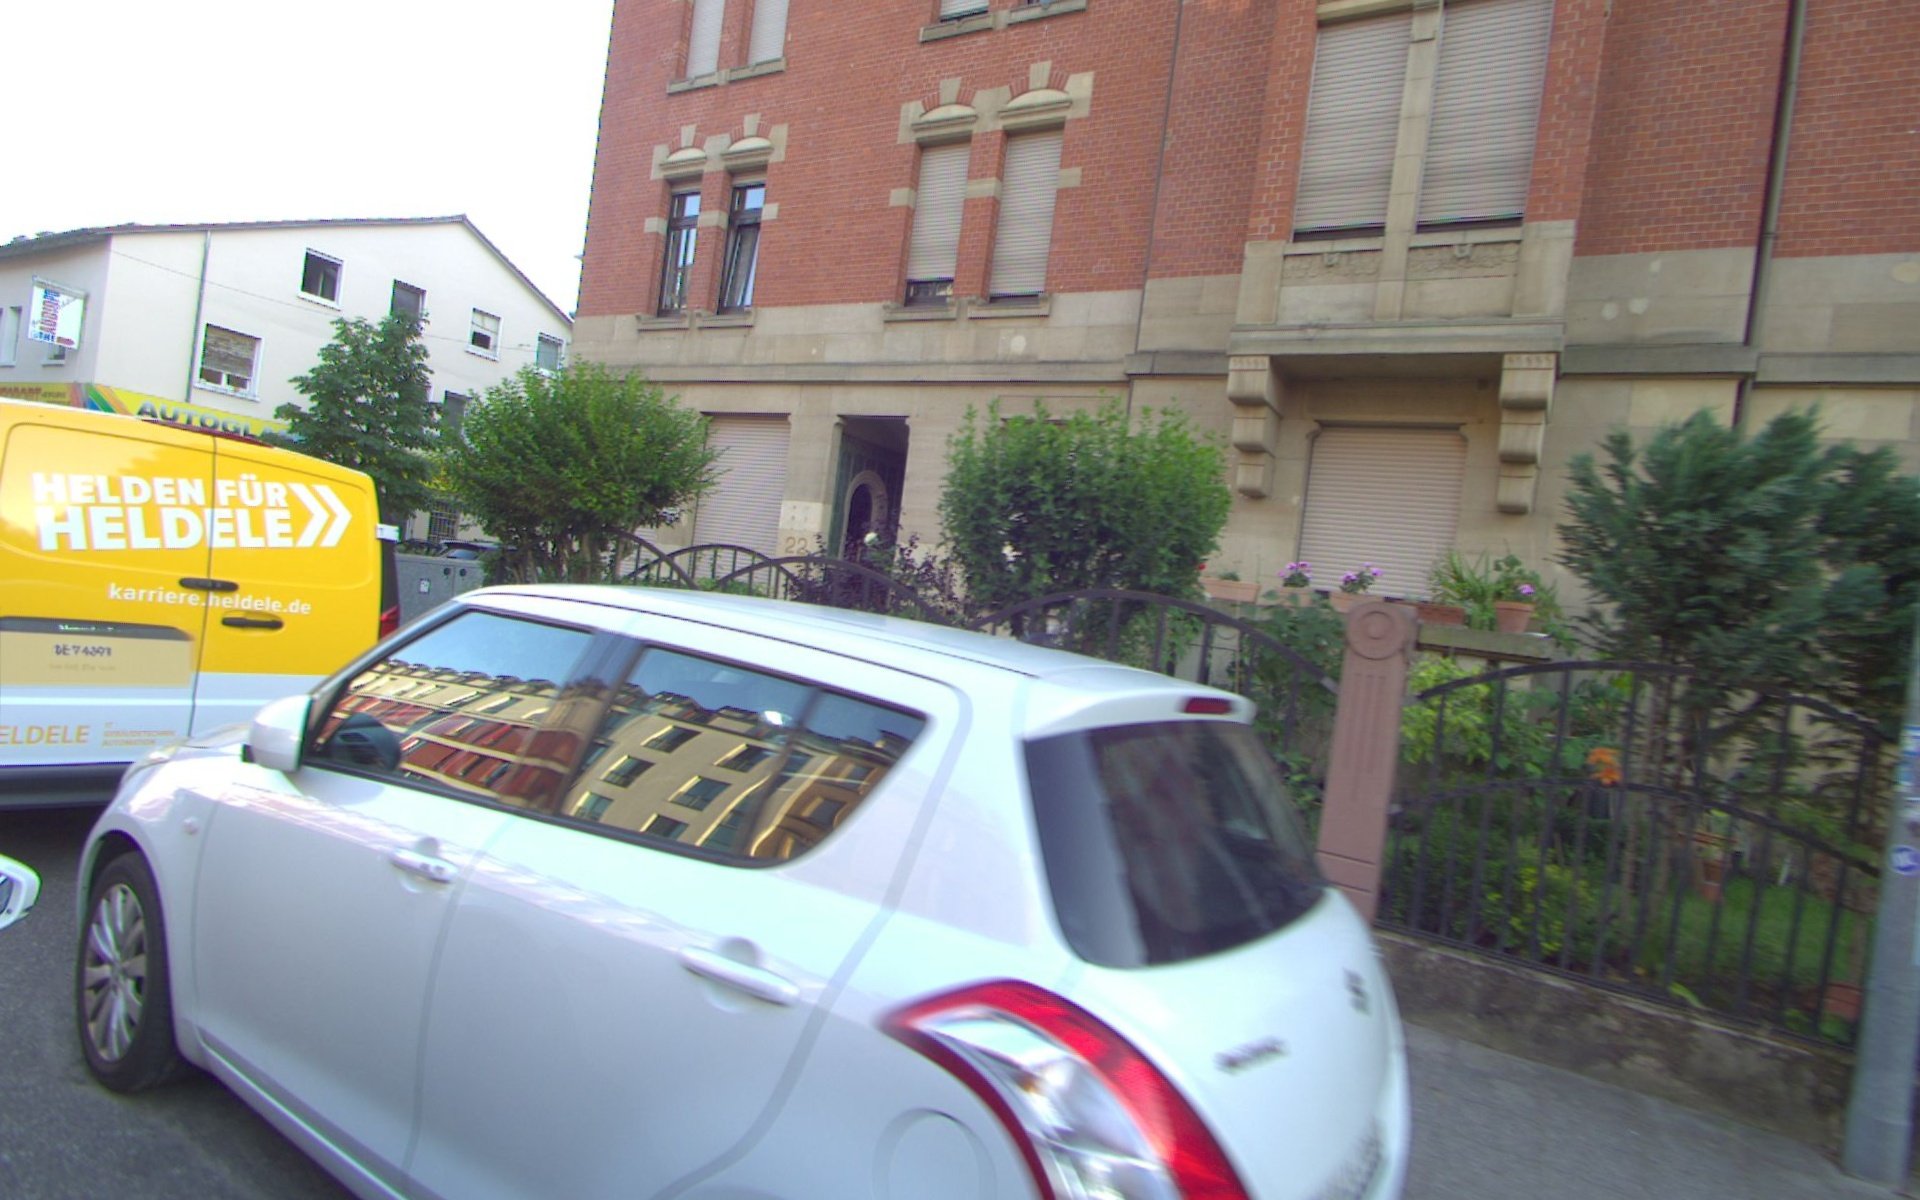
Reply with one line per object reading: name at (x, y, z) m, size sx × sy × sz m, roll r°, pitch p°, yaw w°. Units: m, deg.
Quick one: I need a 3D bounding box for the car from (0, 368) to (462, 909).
car at (-5.164, -0.054, 5.395) m, size 4.996 × 1.906 × 1.897 m, roll 7°, pitch -1°, yaw 31°

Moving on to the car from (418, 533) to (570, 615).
car at (-14.499, -0.817, 31.235) m, size 4.499 × 1.854 × 1.876 m, roll 9°, pitch 1°, yaw 30°

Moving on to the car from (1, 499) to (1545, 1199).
car at (-0.770, 0.719, 2.668) m, size 3.799 × 1.494 × 1.677 m, roll 7°, pitch -1°, yaw 34°

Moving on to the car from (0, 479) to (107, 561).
car at (-21.296, -1.886, 21.655) m, size 1.727 × 1.533 × 4.054 m, roll 10°, pitch 2°, yaw 32°

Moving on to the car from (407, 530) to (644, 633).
car at (-9.165, -0.324, 21.613) m, size 1.847 × 1.692 × 4.327 m, roll 6°, pitch -1°, yaw 29°

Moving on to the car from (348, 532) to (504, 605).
car at (-15.571, -0.937, 29.271) m, size 4.494 × 1.528 × 1.744 m, roll 7°, pitch 0°, yaw 29°
